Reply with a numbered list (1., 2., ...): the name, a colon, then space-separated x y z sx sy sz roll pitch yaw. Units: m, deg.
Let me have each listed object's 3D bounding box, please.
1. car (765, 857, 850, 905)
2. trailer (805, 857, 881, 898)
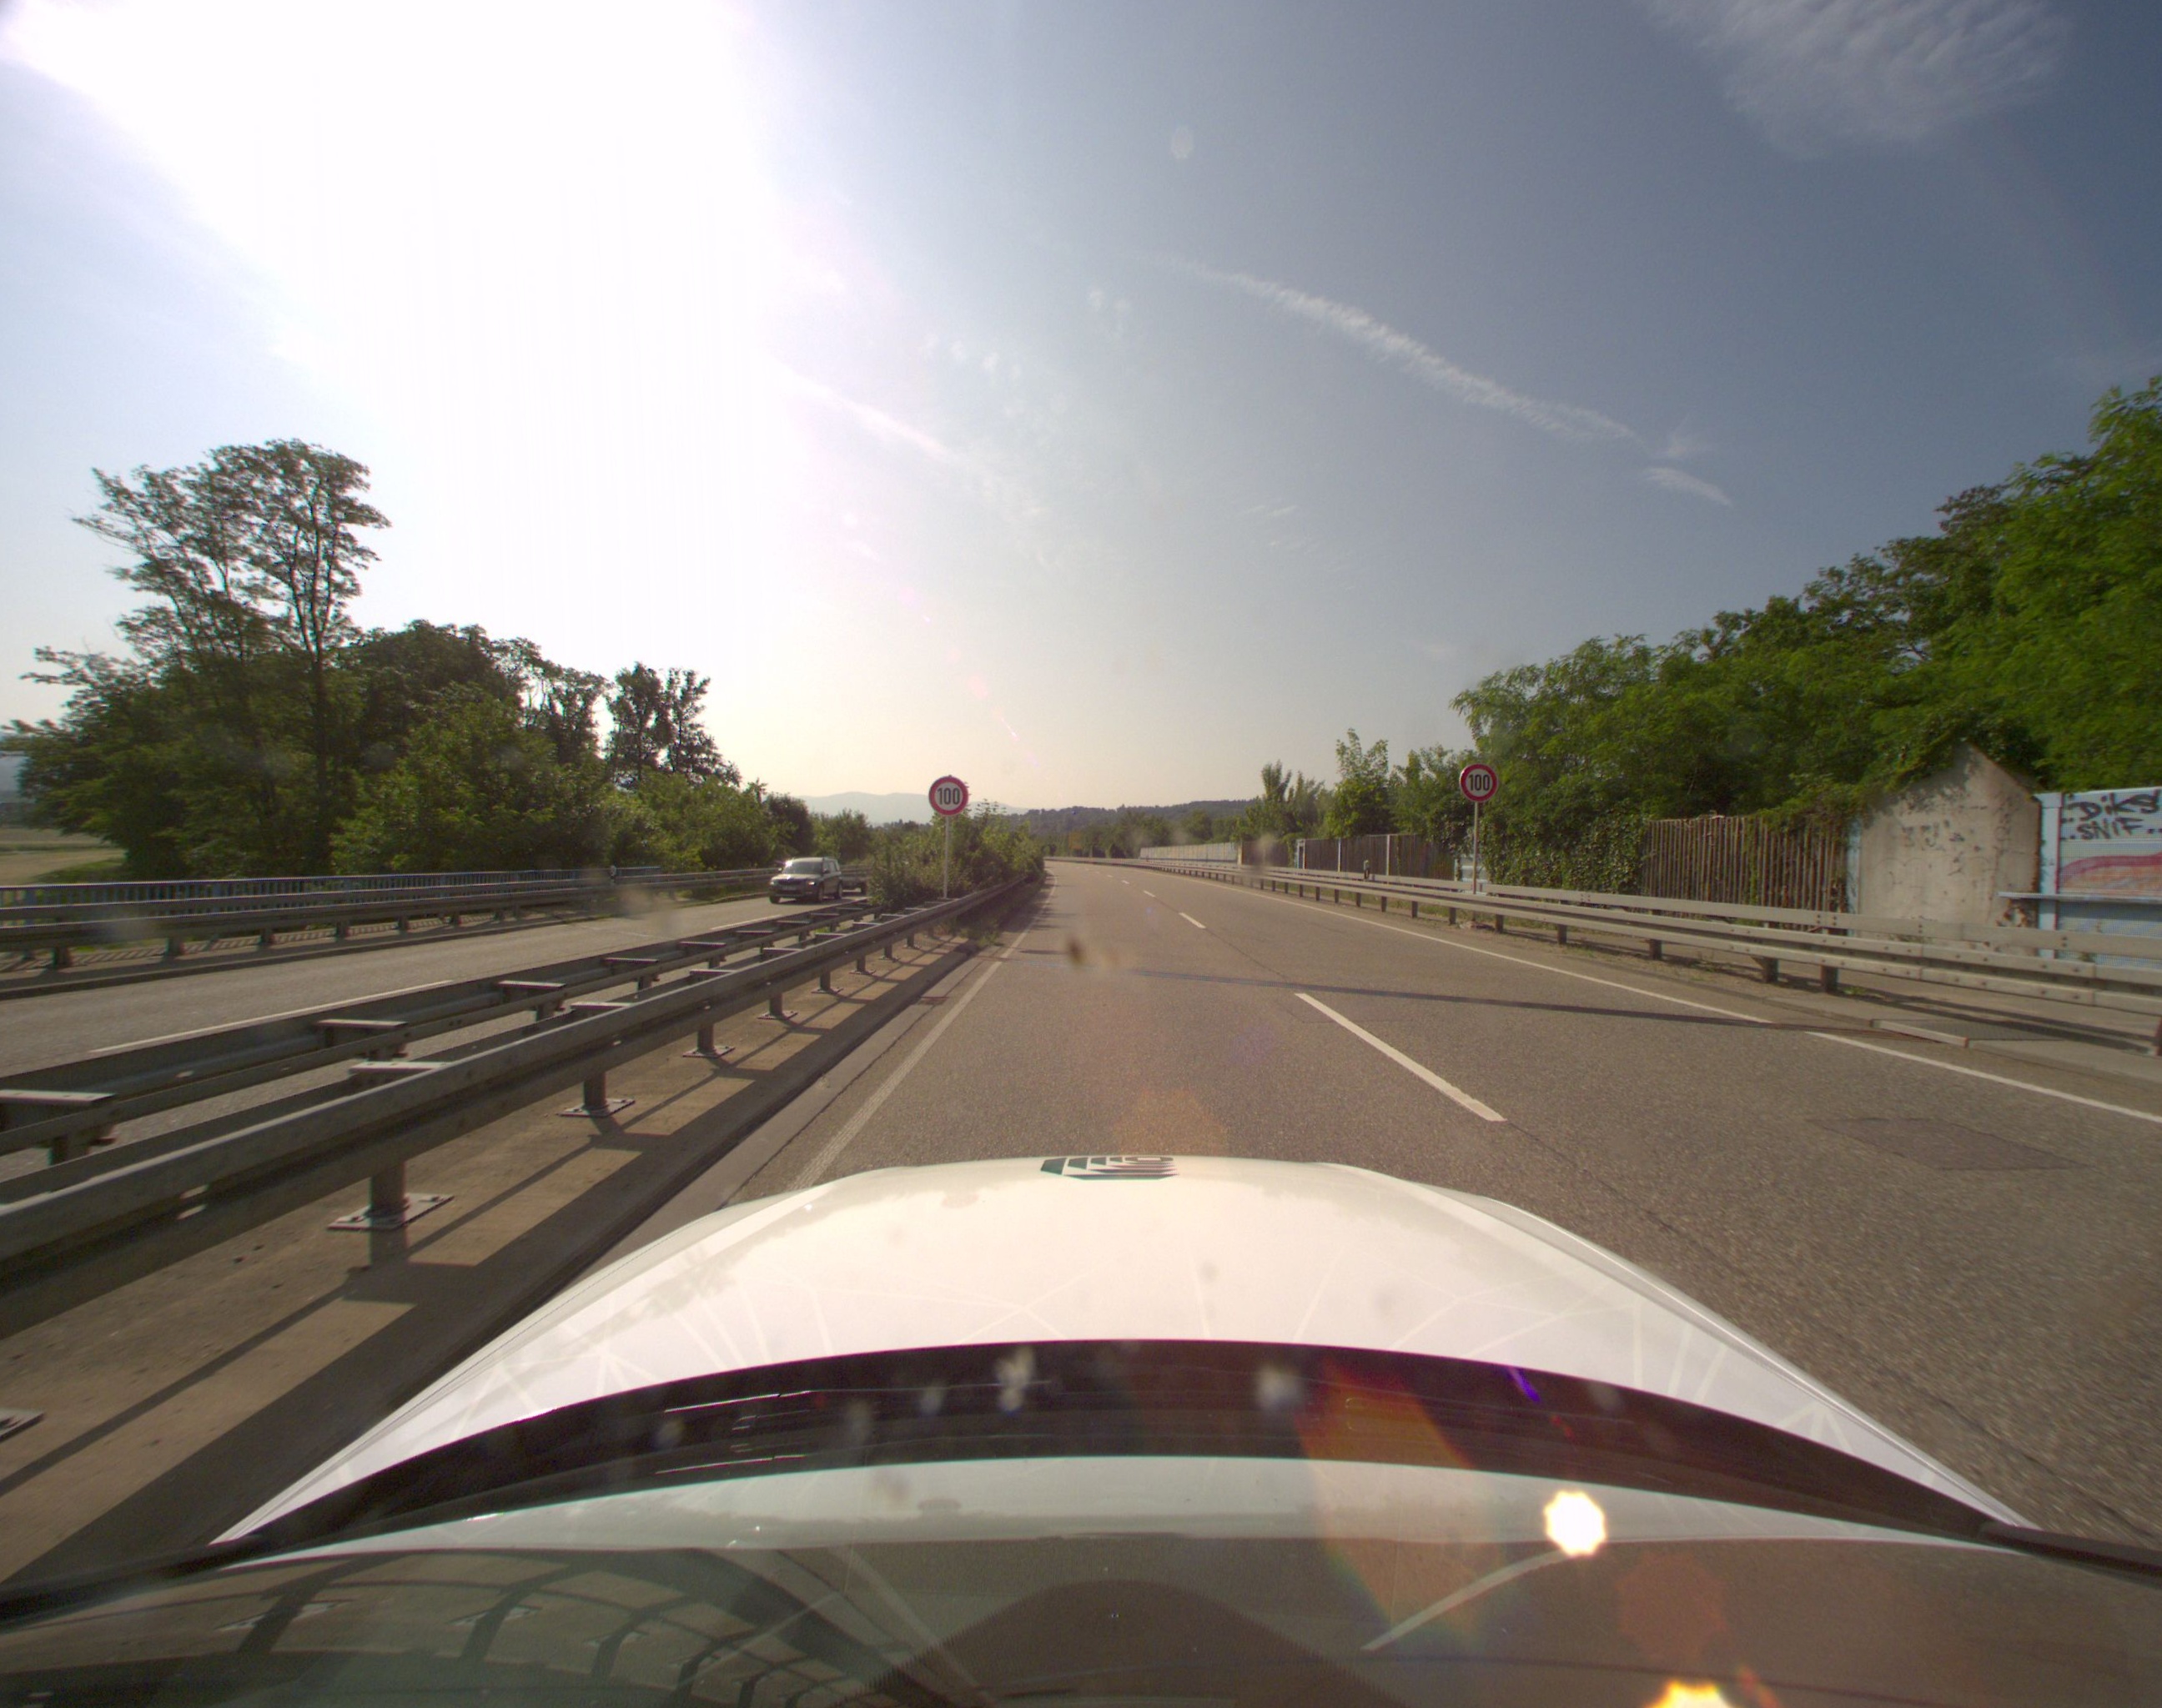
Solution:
1. car: -10.094 0.948 30.336 1.718 1.596 4.000 1 0 1
2. trailer: -10.023 0.948 34.744 1.712 1.578 4.813 1 0 1
